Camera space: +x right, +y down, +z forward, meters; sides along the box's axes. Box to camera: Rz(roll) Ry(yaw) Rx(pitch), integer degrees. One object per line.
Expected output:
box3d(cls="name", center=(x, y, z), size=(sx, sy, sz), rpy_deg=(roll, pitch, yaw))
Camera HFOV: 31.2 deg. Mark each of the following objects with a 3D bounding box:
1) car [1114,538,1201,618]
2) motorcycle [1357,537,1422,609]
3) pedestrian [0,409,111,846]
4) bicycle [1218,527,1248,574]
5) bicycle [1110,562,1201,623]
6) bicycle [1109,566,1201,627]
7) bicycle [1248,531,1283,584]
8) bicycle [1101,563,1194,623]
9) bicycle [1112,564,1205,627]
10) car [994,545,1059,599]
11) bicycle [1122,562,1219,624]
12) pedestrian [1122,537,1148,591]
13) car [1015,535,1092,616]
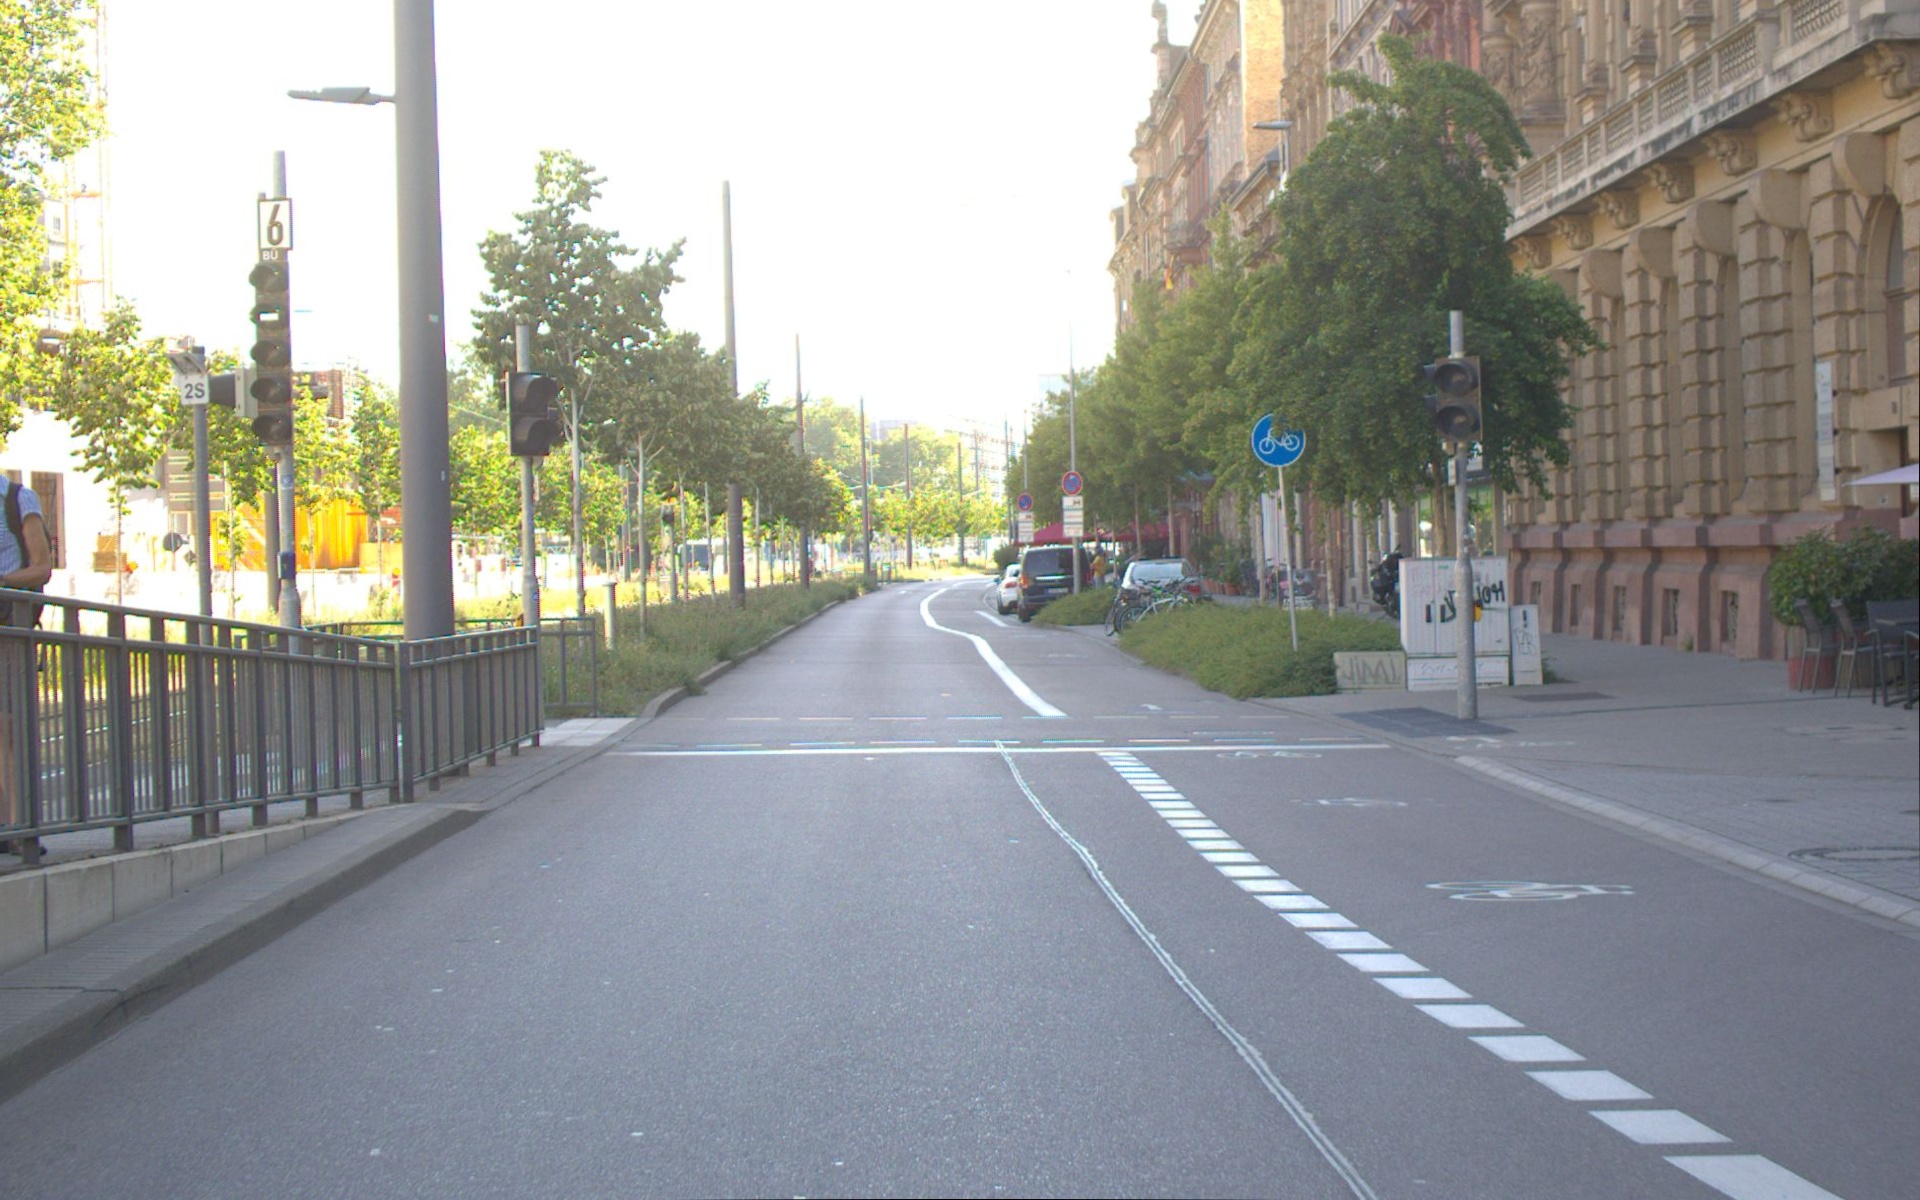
box3d(cls="car", center=(4.147, -0.482, 72.704), size=(1.637, 1.481, 4.212), rpy_deg=(-3, 2, 2))
box3d(cls="motorcycle", center=(8.449, -0.550, 67.751), size=(0.795, 1.304, 2.852), rpy_deg=(-4, 2, -1))
box3d(cls="pedestrian", center=(-3.732, 0.107, 13.329), size=(0.655, 1.637, 0.867), rpy_deg=(-1, 0, -1))
box3d(cls="bicycle", center=(8.490, -1.554, 107.088), size=(0.661, 1.397, 2.352), rpy_deg=(-2, 2, -1))
box3d(cls="bicycle", center=(3.679, -0.144, 64.719), size=(1.576, 1.044, 0.489), rpy_deg=(-3, 1, -8))
box3d(cls="bicycle", center=(3.810, -0.079, 67.133), size=(1.691, 1.044, 0.489), rpy_deg=(-5, 1, 0))
box3d(cls="bicycle", center=(8.502, -1.187, 95.713), size=(0.661, 1.397, 2.352), rpy_deg=(-2, 2, -1))
box3d(cls="bicycle", center=(3.606, -0.137, 66.020), size=(1.691, 1.044, 0.489), rpy_deg=(-4, 1, 0))
box3d(cls="bicycle", center=(3.623, -0.084, 62.892), size=(1.576, 1.044, 0.489), rpy_deg=(-3, 1, -8))
box3d(cls="car", center=(1.969, -0.850, 102.766), size=(1.849, 1.452, 4.156), rpy_deg=(-2, 2, 1))
box3d(cls="bicycle", center=(3.922, -0.134, 64.184), size=(1.691, 1.044, 0.489), rpy_deg=(-3, 1, -8))
box3d(cls="pedestrian", center=(4.742, -0.976, 93.021), size=(0.625, 1.455, 0.638), rpy_deg=(-2, 1, -1))
box3d(cls="car", center=(2.403, -0.653, 89.161), size=(1.885, 1.930, 4.473), rpy_deg=(-2, 2, 1))
